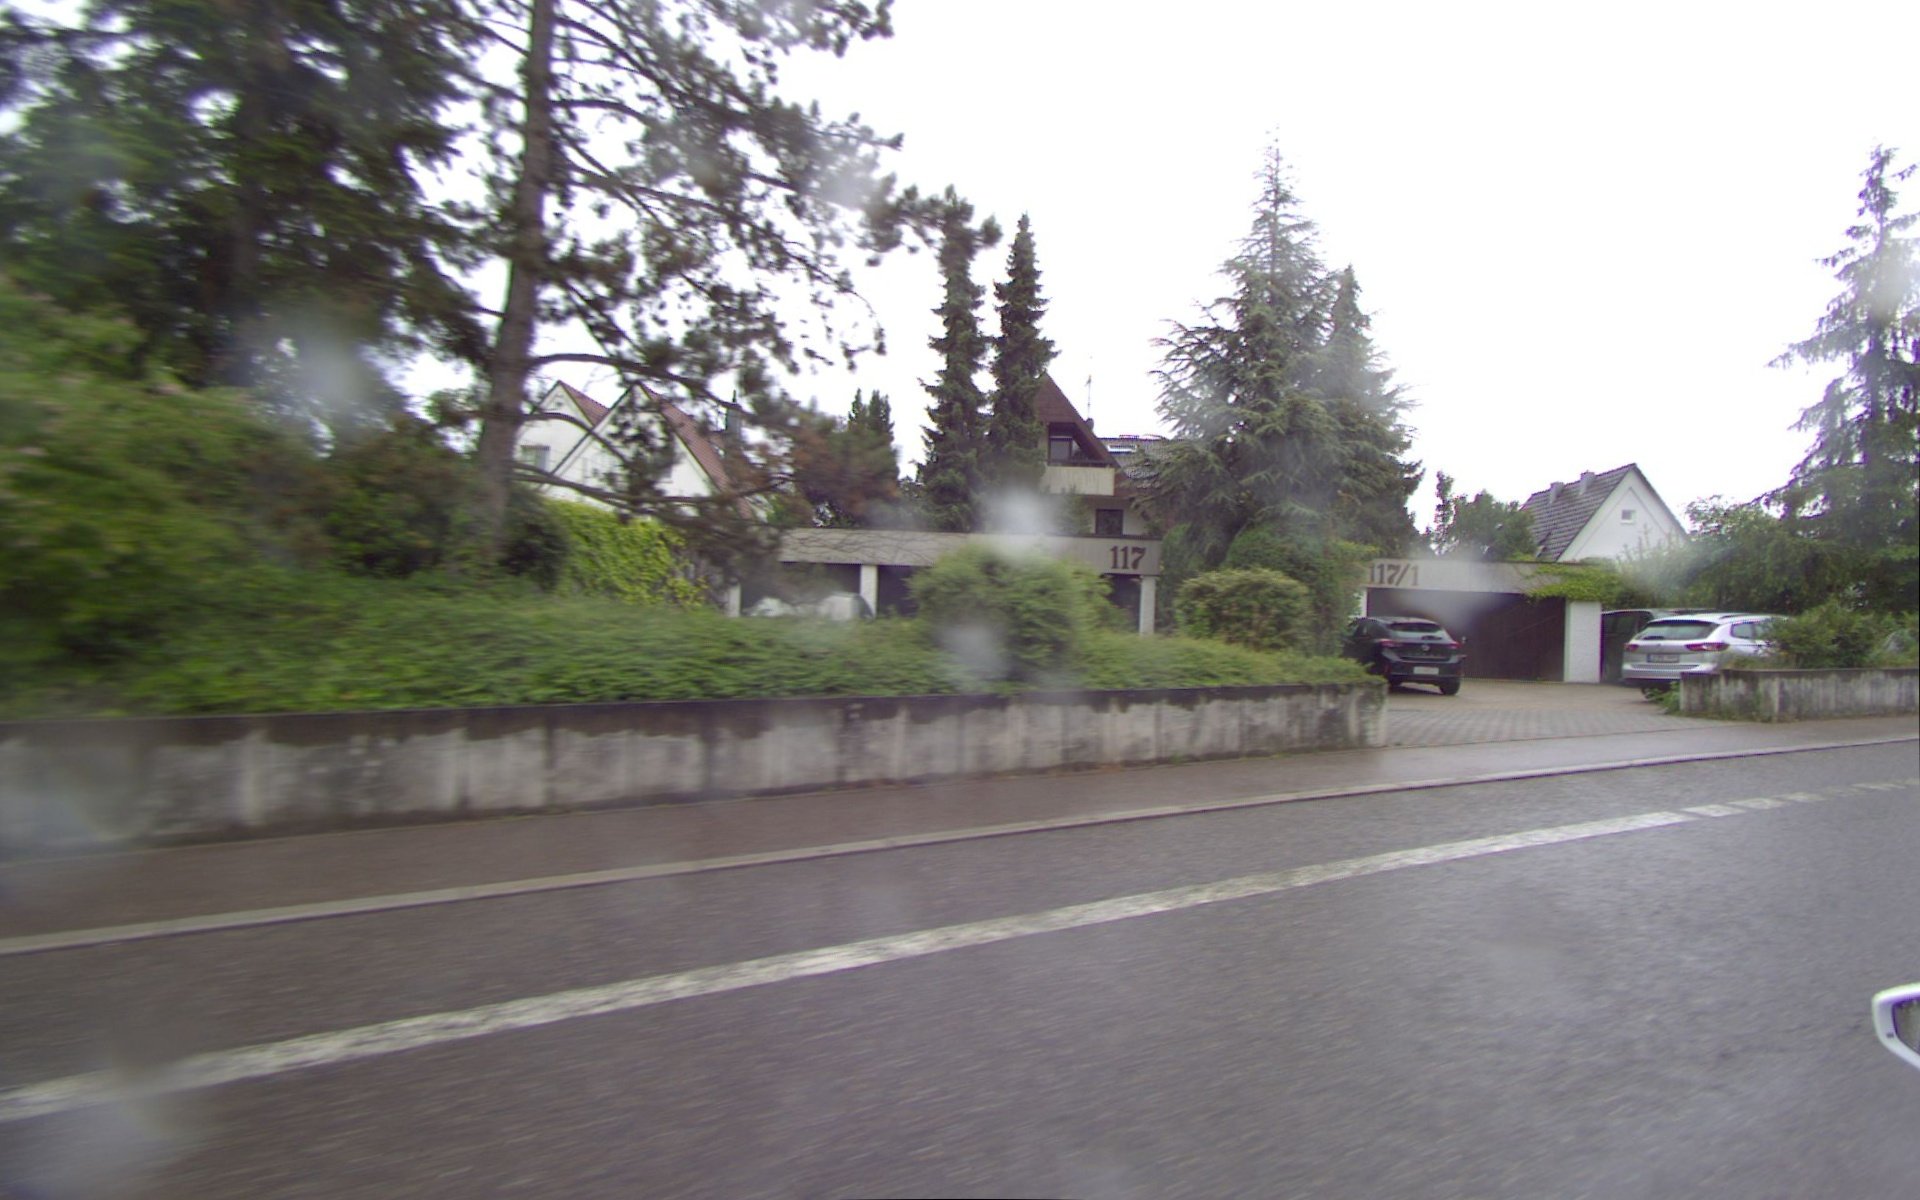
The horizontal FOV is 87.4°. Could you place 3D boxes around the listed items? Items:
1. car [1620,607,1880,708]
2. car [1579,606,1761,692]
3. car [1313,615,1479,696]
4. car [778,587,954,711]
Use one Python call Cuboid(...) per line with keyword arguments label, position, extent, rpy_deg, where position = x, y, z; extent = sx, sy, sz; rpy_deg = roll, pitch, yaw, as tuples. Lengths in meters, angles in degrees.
Cuboid(label="car", position=(13.514, 0.960, 17.201), extent=(3.940, 1.572, 1.732), rpy_deg=(1, -1, -20))
Cuboid(label="car", position=(16.933, 1.135, 24.226), extent=(1.959, 1.862, 4.003), rpy_deg=(1, -1, 8))
Cuboid(label="car", position=(8.755, 1.053, 20.566), extent=(1.902, 1.456, 4.002), rpy_deg=(1, -1, 4))
Cuboid(label="car", position=(-1.256, 0.671, 15.229), extent=(1.960, 1.595, 4.002), rpy_deg=(1, -1, 5))
